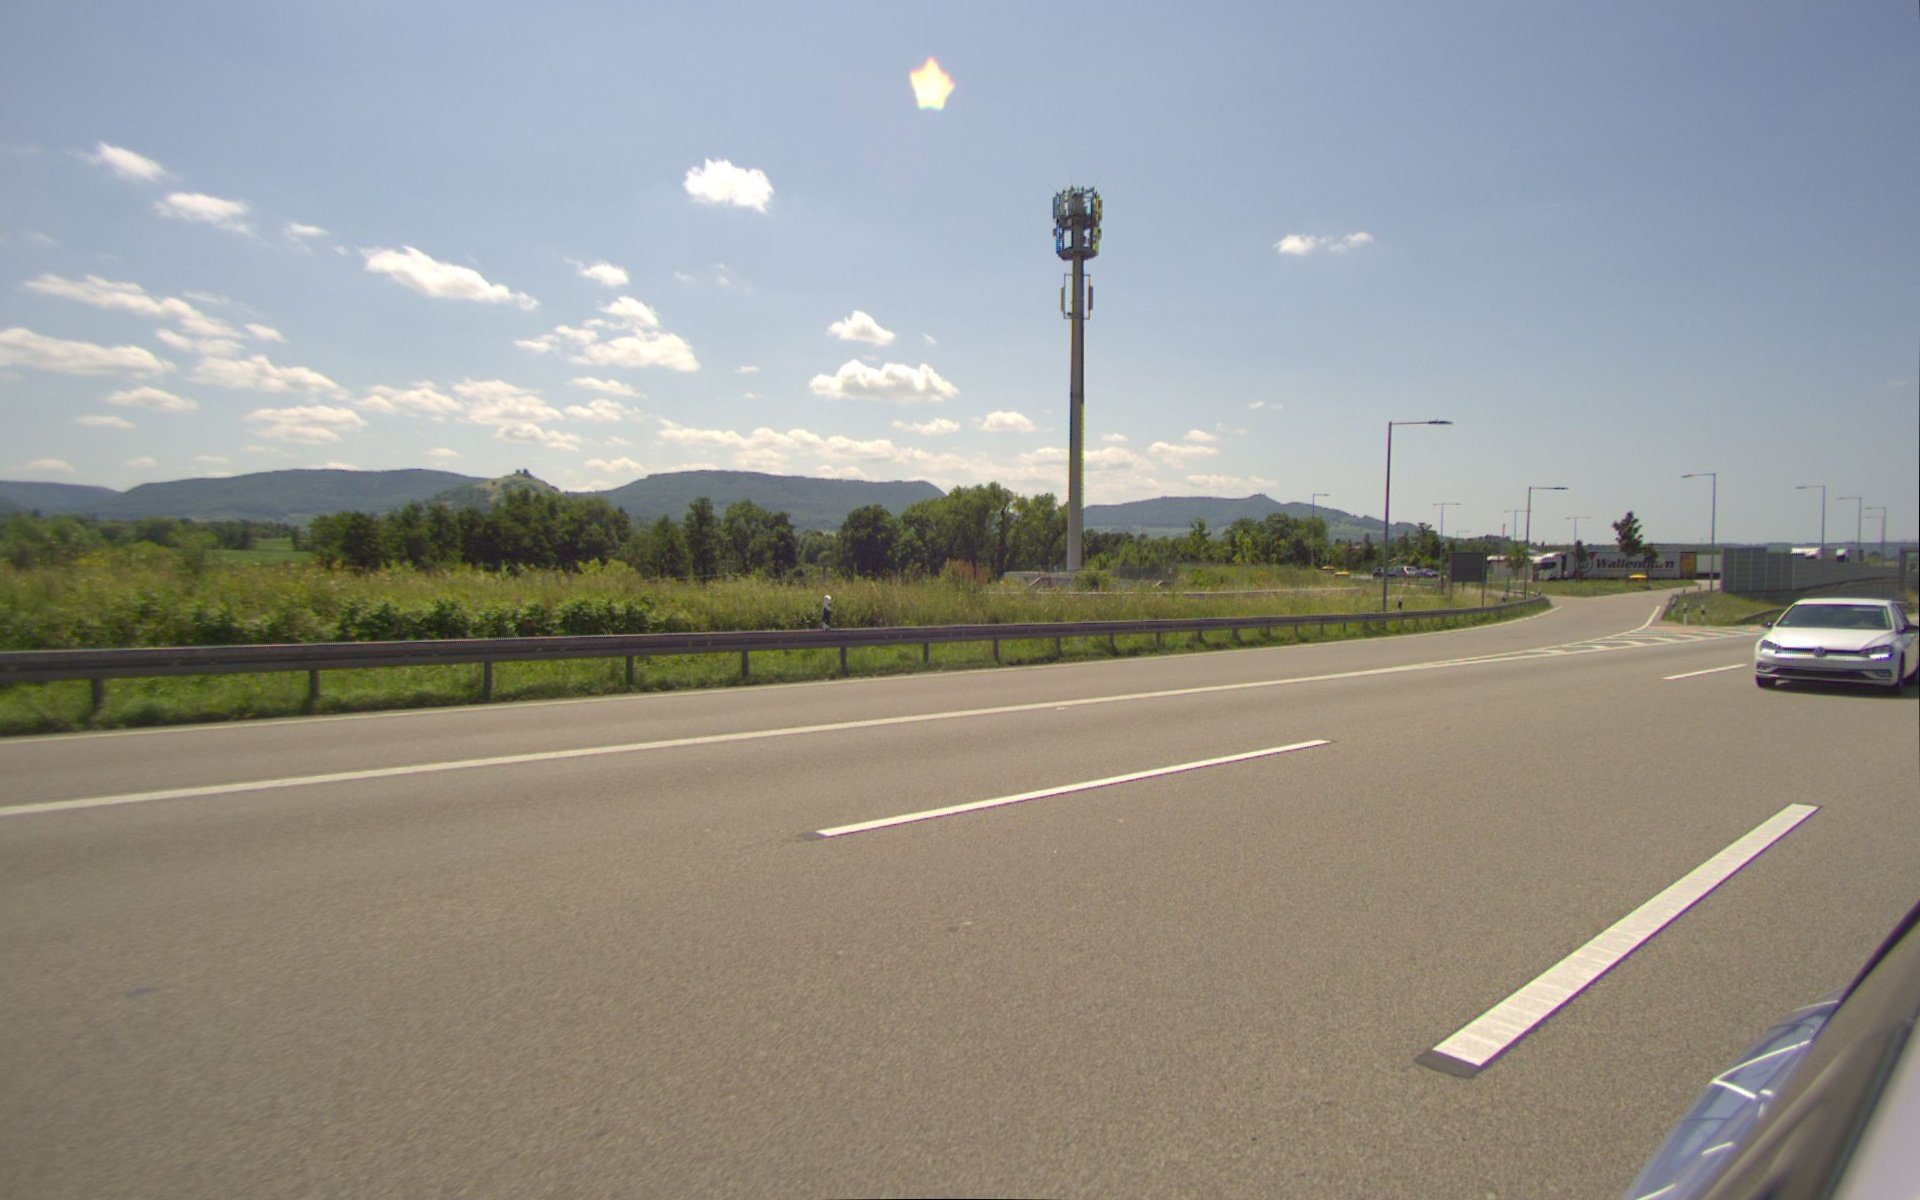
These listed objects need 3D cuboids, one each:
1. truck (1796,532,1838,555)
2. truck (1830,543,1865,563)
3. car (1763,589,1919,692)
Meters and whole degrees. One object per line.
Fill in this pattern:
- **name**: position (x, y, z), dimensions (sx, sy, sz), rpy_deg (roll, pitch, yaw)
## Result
- **truck**: position (94.527, -6.198, 111.553), dimensions (7.165, 2.232, 2.710), rpy_deg (-1, 1, -43)
- **truck**: position (112.054, -5.900, 127.709), dimensions (5.935, 2.258, 2.726), rpy_deg (-1, 1, -43)
- **car**: position (15.004, 0.560, 16.865), dimensions (4.610, 1.451, 1.778), rpy_deg (-1, 1, -42)
